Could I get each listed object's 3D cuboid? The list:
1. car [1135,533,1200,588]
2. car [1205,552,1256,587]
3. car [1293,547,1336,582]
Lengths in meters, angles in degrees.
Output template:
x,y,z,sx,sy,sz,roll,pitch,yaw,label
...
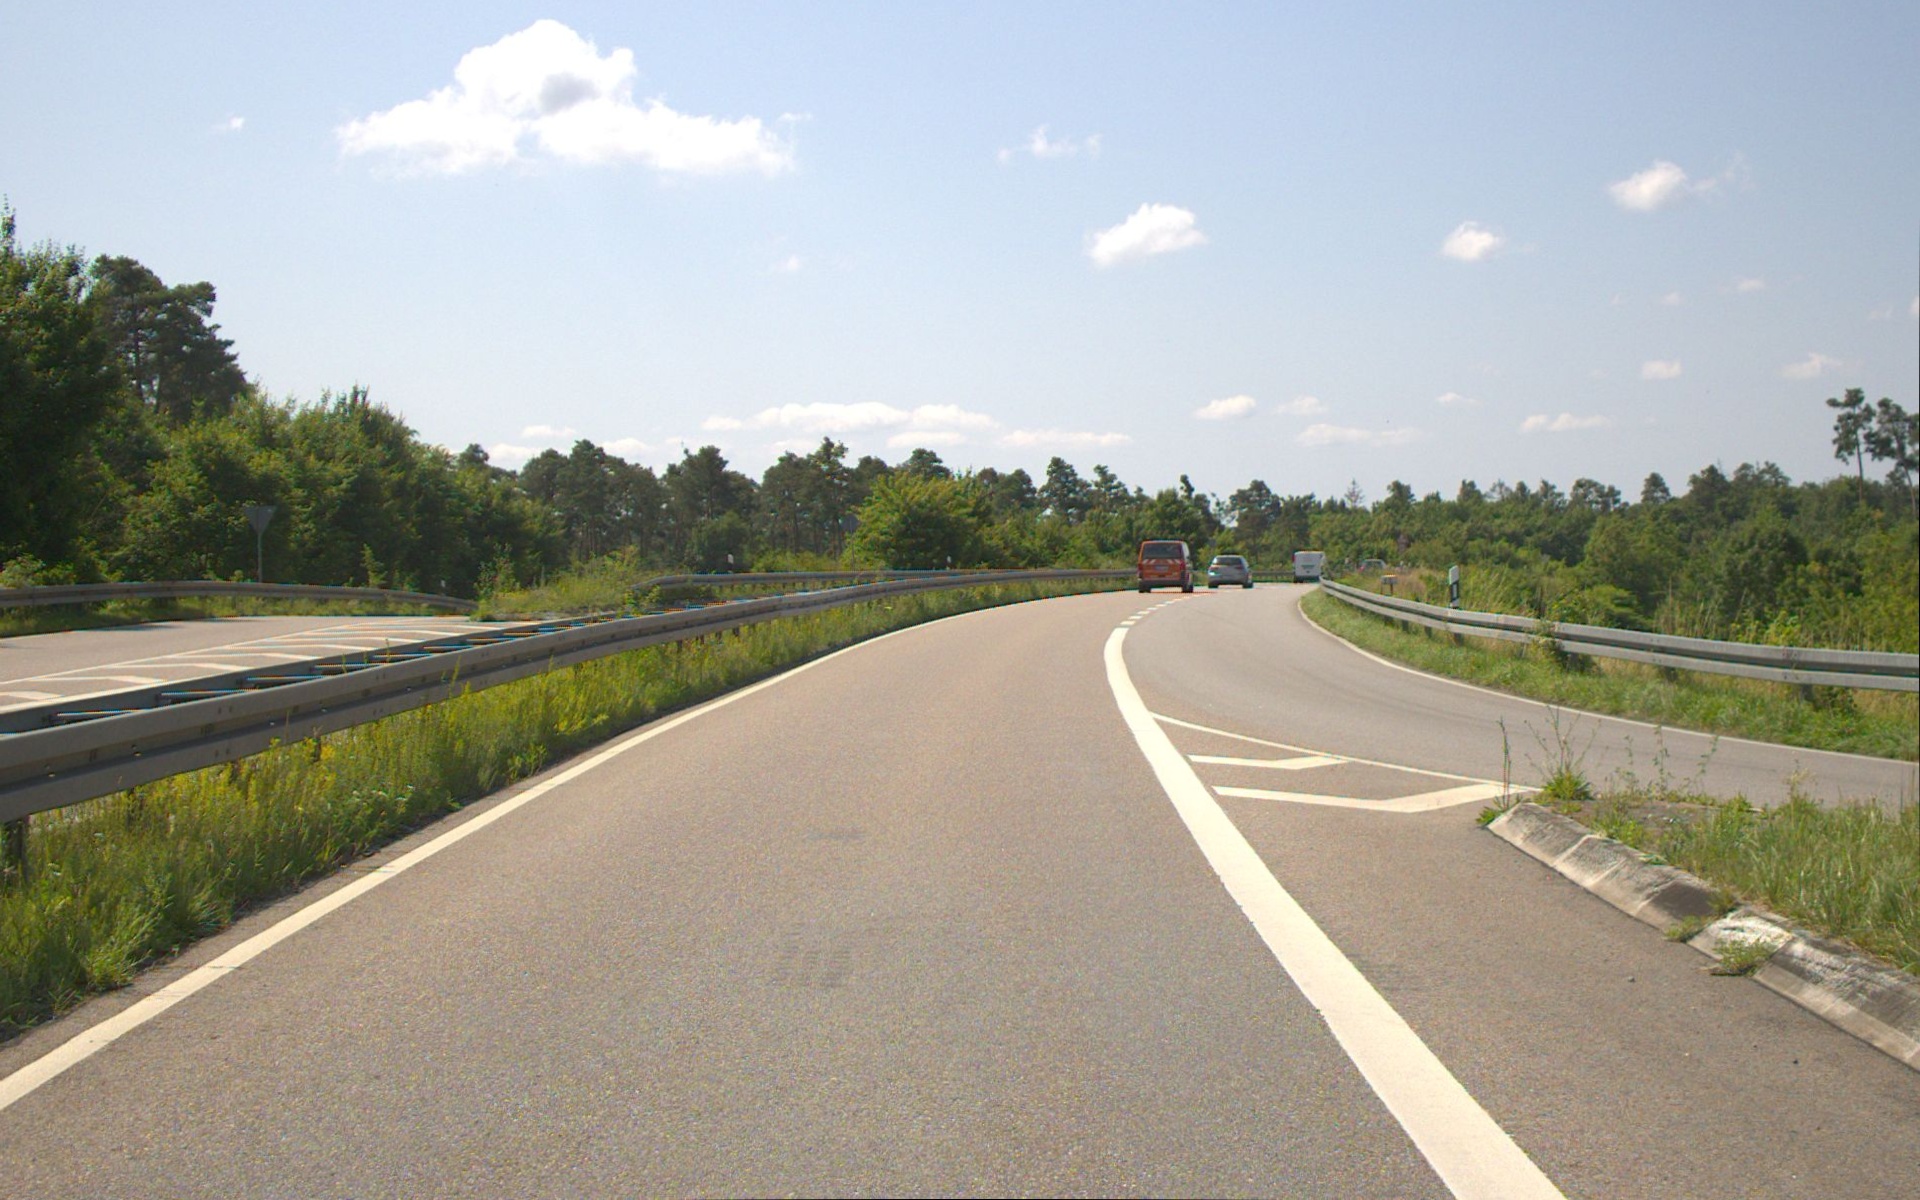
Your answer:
x,y,z,sx,sy,sz,roll,pitch,yaw,label
7.896,-1.485,130.293,2.078,1.986,5.110,1,0,8,car
12.016,-1.350,152.429,2.008,1.489,4.237,1,0,8,car
20.956,-2.081,203.178,2.185,1.948,5.801,1,0,9,car
